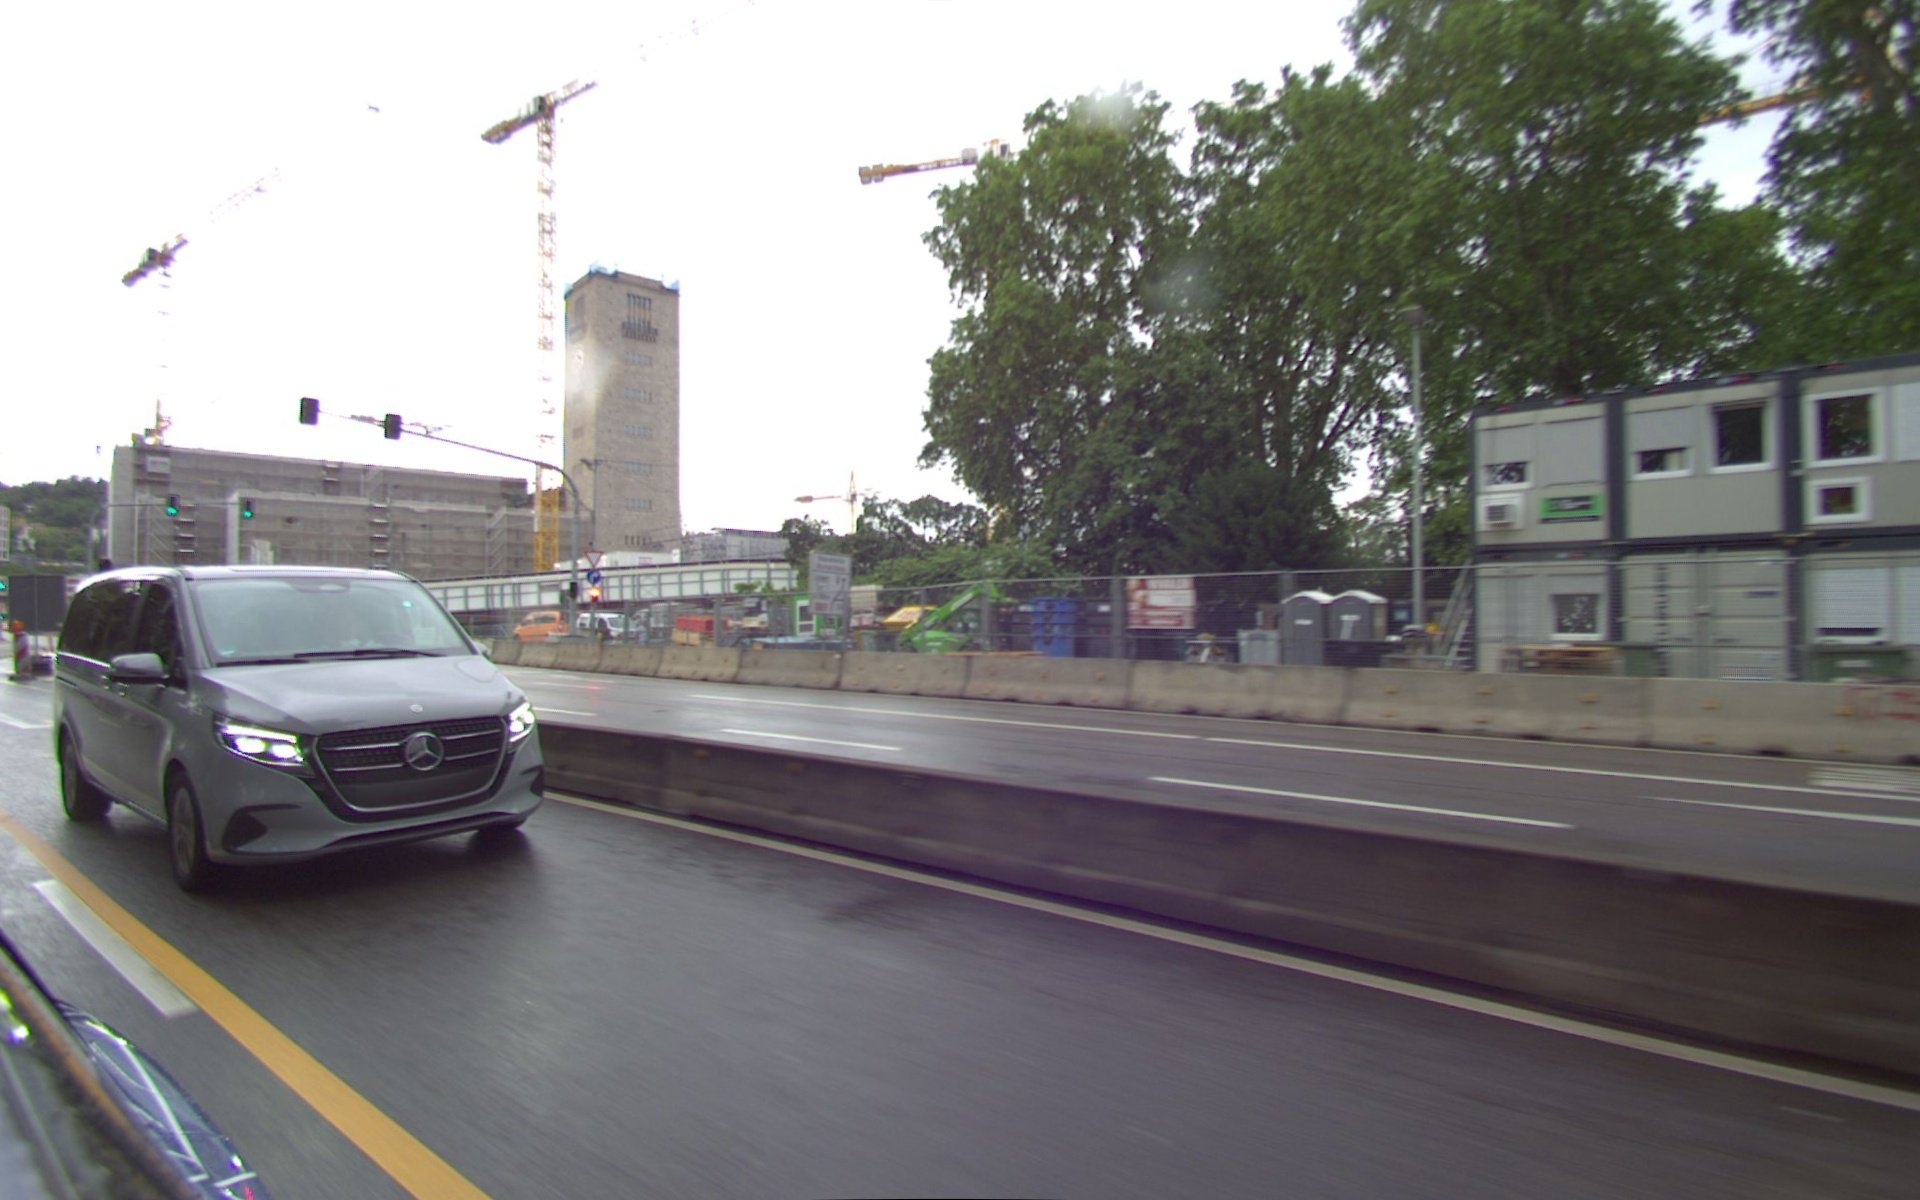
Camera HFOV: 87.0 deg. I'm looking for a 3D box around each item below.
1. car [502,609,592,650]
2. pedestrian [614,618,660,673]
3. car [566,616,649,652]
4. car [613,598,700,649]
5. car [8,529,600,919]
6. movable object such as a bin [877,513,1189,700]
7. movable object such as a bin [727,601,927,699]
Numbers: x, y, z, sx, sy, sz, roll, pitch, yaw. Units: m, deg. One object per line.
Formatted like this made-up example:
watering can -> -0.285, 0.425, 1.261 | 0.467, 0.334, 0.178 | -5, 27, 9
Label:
car -> -22.803, 1.638, 55.762 | 5.573, 2.117, 1.975 | -1, -4, 37
pedestrian -> -12.171, 1.714, 38.171 | 1.174, 2.029, 1.167 | -1, -1, 18
car -> -18.175, 1.726, 52.052 | 4.794, 1.775, 1.826 | -1, -3, 40
car -> -19.310, 1.492, 64.227 | 6.163, 3.089, 2.251 | -1, -3, 39
car -> -5.001, 0.677, 7.311 | 5.350, 1.870, 1.974 | -2, -2, 38
movable object such as a bin -> 2.084, 0.310, 30.741 | 8.354, 4.840, 4.701 | -1, -3, 41
movable object such as a bin -> -4.854, 1.737, 36.456 | 6.384, 3.152, 3.891 | -1, -3, 41
